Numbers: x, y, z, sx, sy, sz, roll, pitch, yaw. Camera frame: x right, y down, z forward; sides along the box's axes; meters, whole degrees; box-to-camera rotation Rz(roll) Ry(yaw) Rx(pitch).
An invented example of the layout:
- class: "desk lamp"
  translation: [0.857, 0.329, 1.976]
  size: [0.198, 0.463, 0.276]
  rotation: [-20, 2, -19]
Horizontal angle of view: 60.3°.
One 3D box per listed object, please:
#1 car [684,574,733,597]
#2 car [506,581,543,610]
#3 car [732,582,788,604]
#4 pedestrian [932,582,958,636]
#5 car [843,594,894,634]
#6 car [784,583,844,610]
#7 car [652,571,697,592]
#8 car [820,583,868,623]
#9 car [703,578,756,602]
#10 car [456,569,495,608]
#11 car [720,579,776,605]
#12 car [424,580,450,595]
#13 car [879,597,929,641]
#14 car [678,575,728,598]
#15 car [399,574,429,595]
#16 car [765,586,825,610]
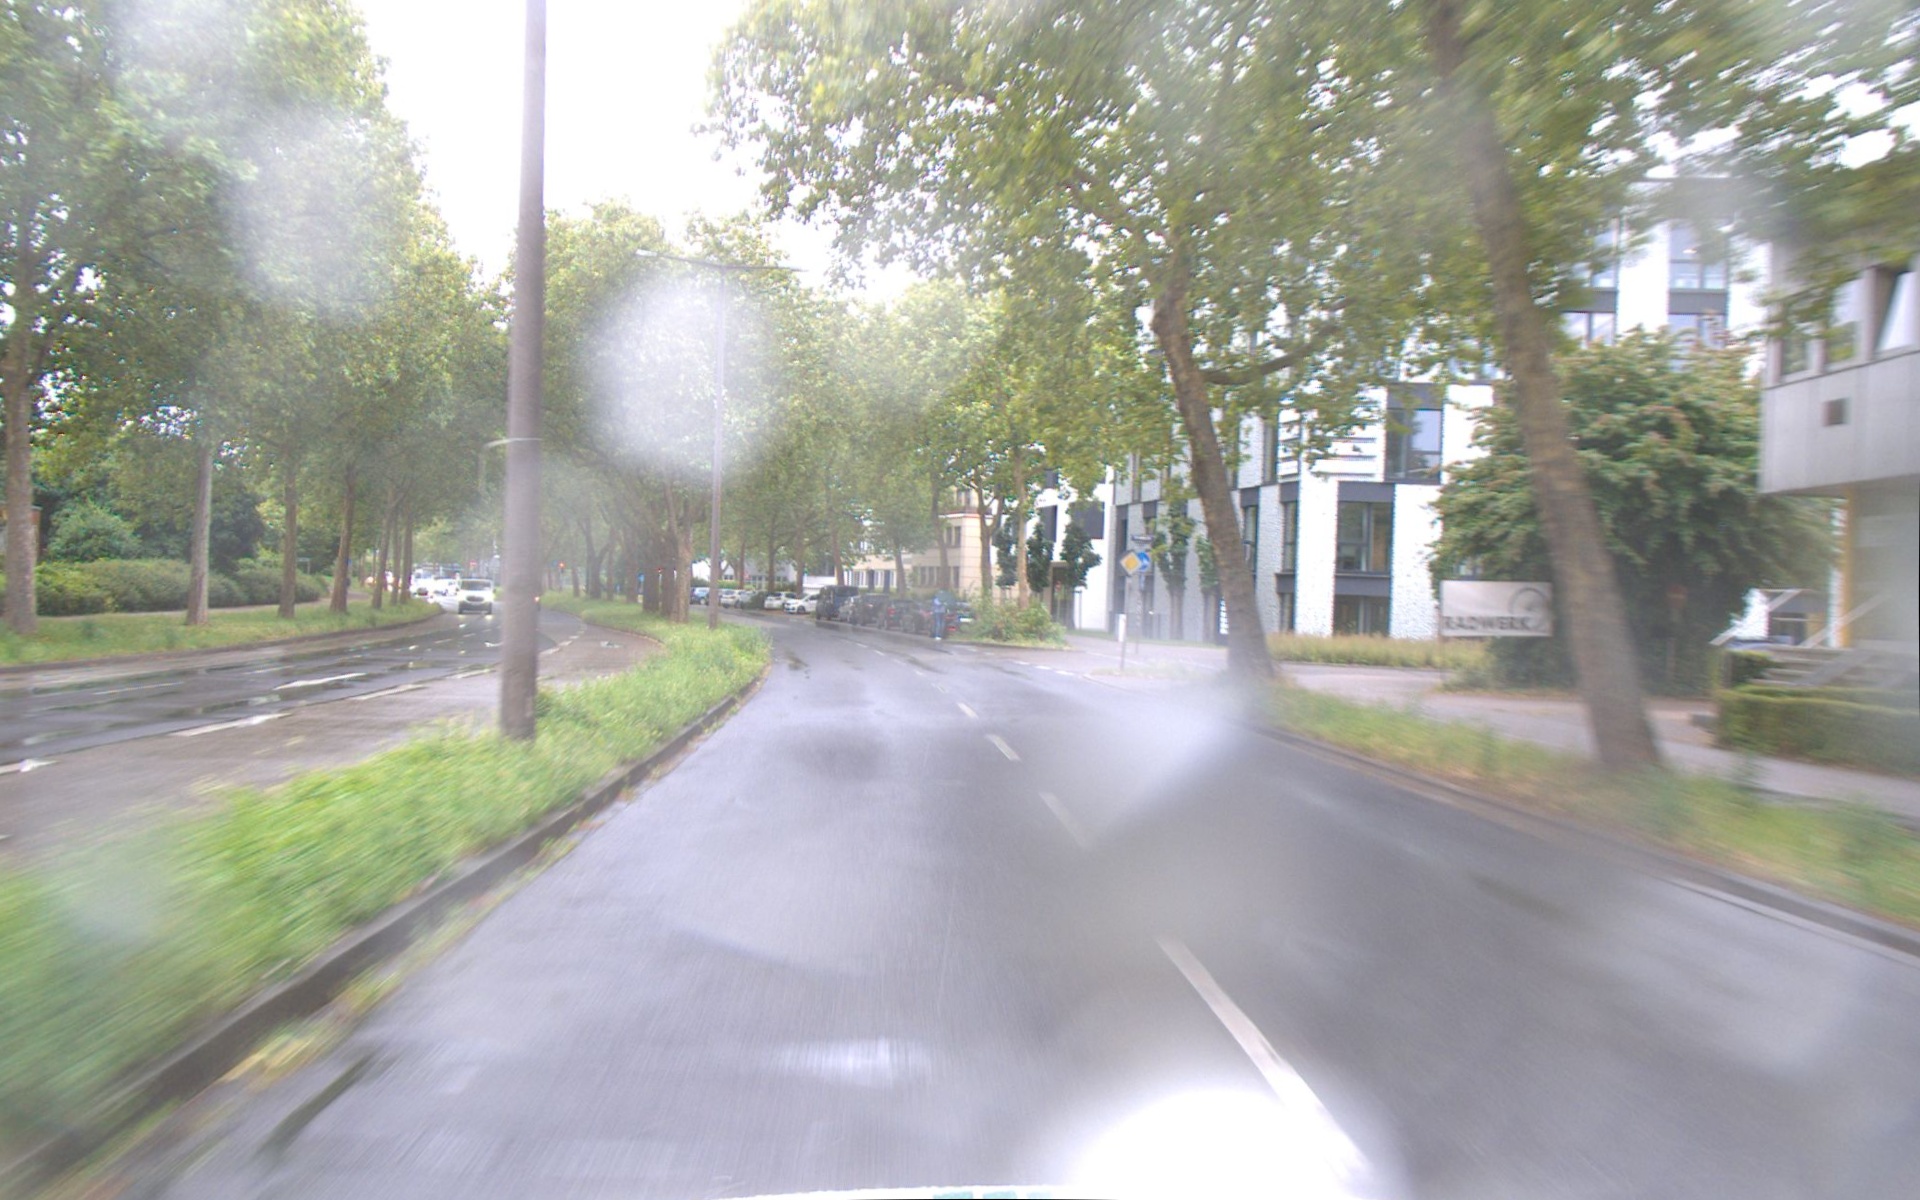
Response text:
- class: "car"
  translation: [-22.652, -1.323, 148.793]
  size: [3.934, 1.851, 1.986]
  rotation: [2, 1, -24]
- class: "car"
  translation: [-28.927, -0.306, 109.852]
  size: [1.965, 1.746, 3.976]
  rotation: [2, 2, -21]
- class: "car"
  translation: [-15.263, -0.535, 126.174]
  size: [3.817, 1.530, 1.874]
  rotation: [1, 2, -25]
- class: "pedestrian"
  translation: [-0.580, 0.335, 61.755]
  size: [0.838, 1.984, 0.708]
  rotation: [2, 1, -7]
- class: "car"
  translation: [-4.678, 0.703, 84.065]
  size: [1.958, 1.813, 3.989]
  rotation: [2, 2, -12]
- class: "car"
  translation: [-10.046, -0.232, 113.796]
  size: [3.809, 1.679, 1.878]
  rotation: [2, 1, -19]
- class: "car"
  translation: [-27.463, -1.811, 159.022]
  size: [3.934, 1.851, 1.986]
  rotation: [2, 1, -24]
- class: "car"
  translation: [-6.714, 0.162, 95.658]
  size: [2.085, 2.124, 3.986]
  rotation: [2, 2, -14]
- class: "car"
  translation: [-19.005, -0.840, 136.220]
  size: [3.934, 1.851, 1.986]
  rotation: [2, 1, -24]
- class: "car"
  translation: [-27.750, -0.653, 94.697]
  size: [1.951, 2.048, 3.980]
  rotation: [2, 2, -19]
- class: "car"
  translation: [-16.826, -0.625, 131.049]
  size: [3.940, 1.863, 1.983]
  rotation: [1, 2, -27]
- class: "car"
  translation: [-49.692, -1.166, 156.965]
  size: [1.742, 1.248, 3.750]
  rotation: [1, 2, -27]
- class: "car"
  translation: [-2.620, 0.848, 77.154]
  size: [1.955, 1.813, 3.995]
  rotation: [2, 1, -7]
- class: "car"
  translation: [-22.480, -1.201, 144.547]
  size: [3.934, 1.851, 1.986]
  rotation: [2, 1, -24]
- class: "car"
  translation: [-48.127, -1.362, 145.738]
  size: [1.970, 1.612, 3.965]
  rotation: [1, 2, -27]
- class: "car"
  translation: [-11.701, -0.152, 117.357]
  size: [3.817, 1.519, 1.874]
  rotation: [1, 2, -25]
